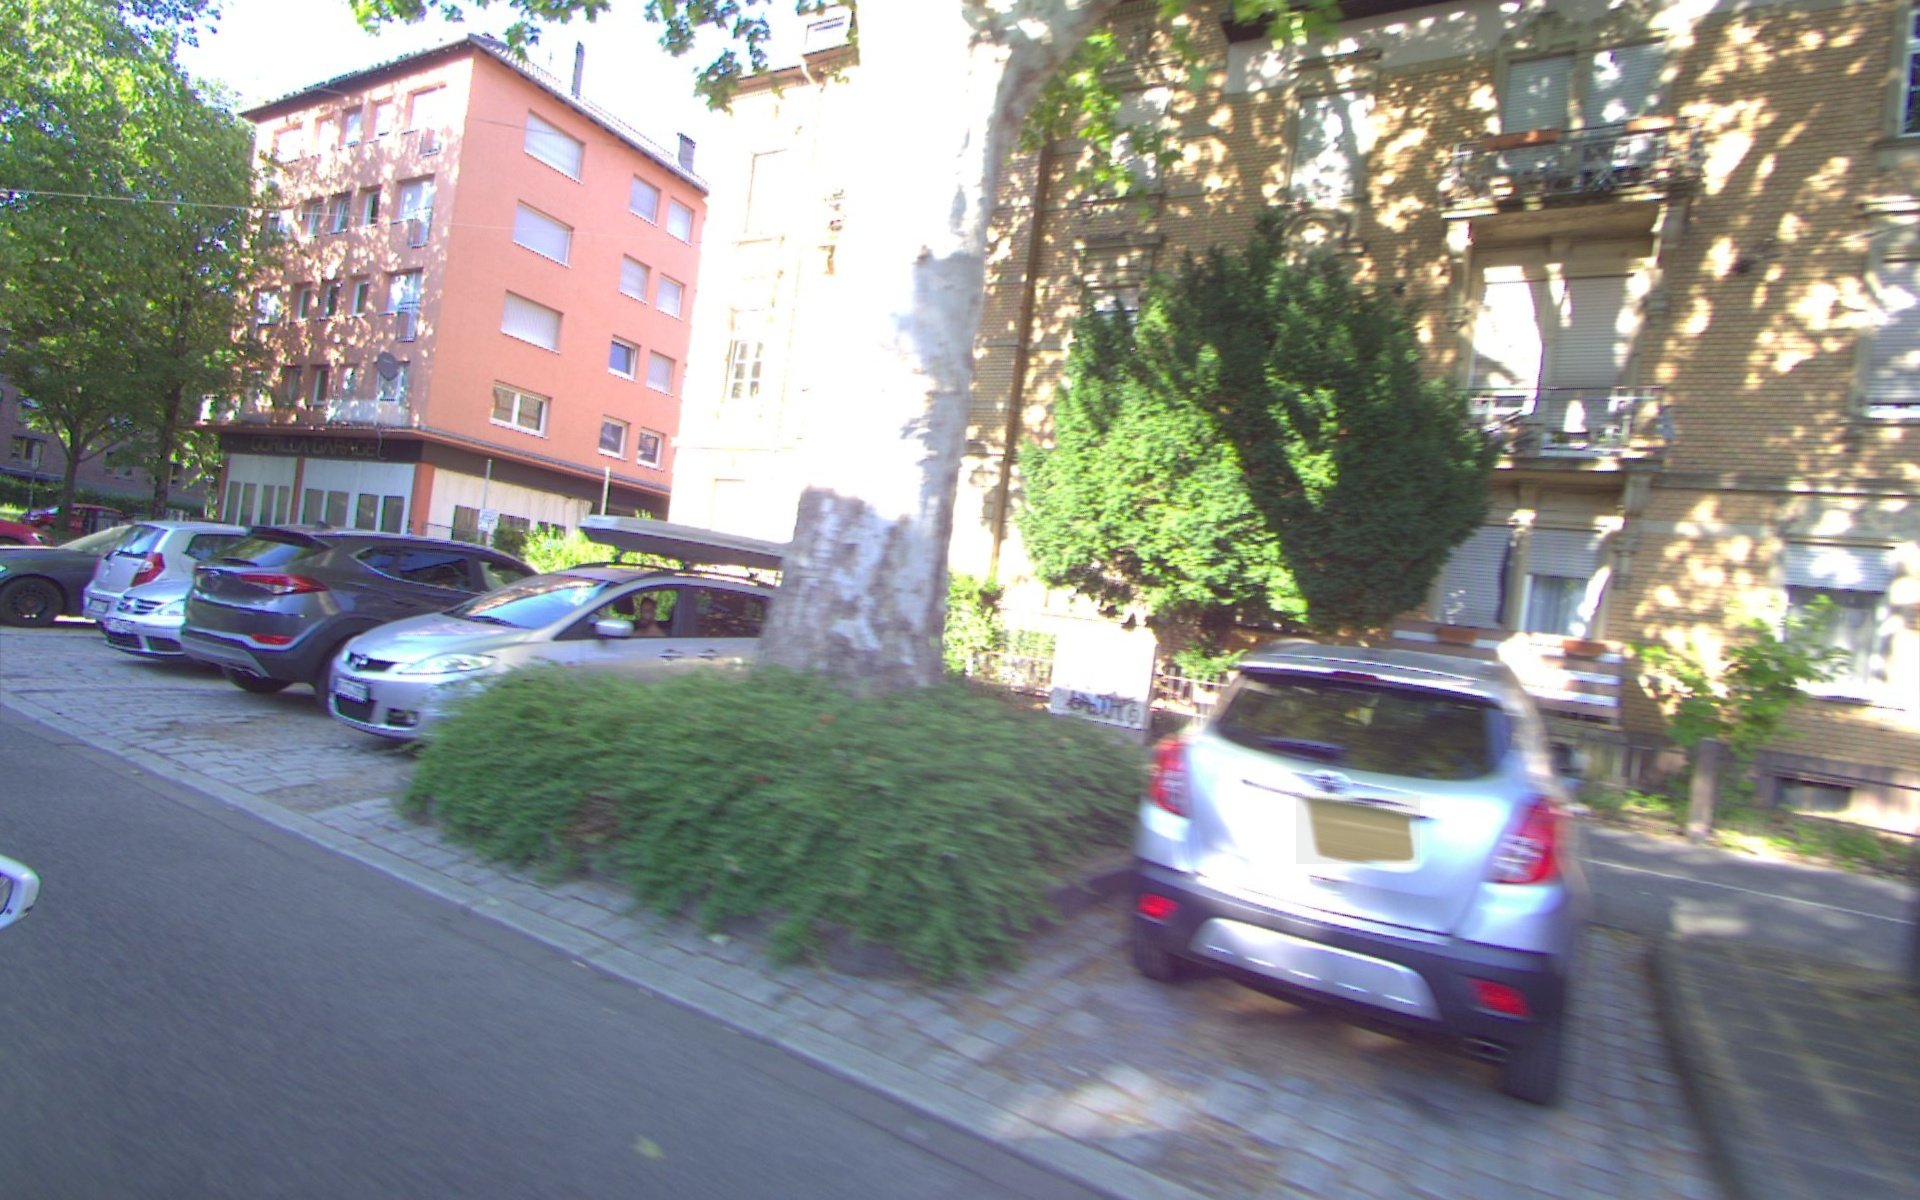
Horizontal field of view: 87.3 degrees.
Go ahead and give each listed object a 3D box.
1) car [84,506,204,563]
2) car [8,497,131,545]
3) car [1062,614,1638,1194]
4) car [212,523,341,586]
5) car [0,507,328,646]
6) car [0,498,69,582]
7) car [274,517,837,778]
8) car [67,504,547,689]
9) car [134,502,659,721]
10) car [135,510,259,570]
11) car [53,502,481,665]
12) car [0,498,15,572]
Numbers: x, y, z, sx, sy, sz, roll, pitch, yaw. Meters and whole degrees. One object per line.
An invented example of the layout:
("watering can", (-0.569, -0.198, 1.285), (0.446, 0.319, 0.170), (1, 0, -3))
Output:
("car", (-31.506, -2.536, 38.815), (4.497, 1.594, 1.794), (7, 0, 26))
("car", (-38.235, -3.363, 43.256), (1.655, 1.469, 3.545), (7, -1, 29))
("car", (2.173, 1.073, 5.231), (1.760, 1.639, 3.787), (7, 0, 29))
("car", (-20.959, -1.403, 30.822), (3.885, 1.452, 1.751), (7, 0, 32))
("car", (-11.398, -0.311, 13.769), (1.787, 1.465, 4.207), (7, -1, 31))
("car", (-20.427, -1.436, 19.406), (1.920, 1.561, 4.408), (7, -1, 34))
("car", (-3.216, 0.462, 8.866), (1.788, 1.638, 4.205), (7, -1, 34))
("car", (-7.270, 0.075, 11.665), (1.788, 1.592, 4.205), (7, -1, 34))
("car", (-5.374, 0.220, 10.247), (1.846, 1.638, 4.209), (7, -1, 29))
("car", (-25.382, -2.006, 33.444), (4.394, 1.452, 1.751), (7, 0, 32))
("car", (-8.901, -0.115, 13.305), (1.788, 1.574, 4.205), (7, -1, 34))
("car", (-22.420, -1.667, 20.430), (1.791, 1.561, 4.403), (7, -1, 38))
